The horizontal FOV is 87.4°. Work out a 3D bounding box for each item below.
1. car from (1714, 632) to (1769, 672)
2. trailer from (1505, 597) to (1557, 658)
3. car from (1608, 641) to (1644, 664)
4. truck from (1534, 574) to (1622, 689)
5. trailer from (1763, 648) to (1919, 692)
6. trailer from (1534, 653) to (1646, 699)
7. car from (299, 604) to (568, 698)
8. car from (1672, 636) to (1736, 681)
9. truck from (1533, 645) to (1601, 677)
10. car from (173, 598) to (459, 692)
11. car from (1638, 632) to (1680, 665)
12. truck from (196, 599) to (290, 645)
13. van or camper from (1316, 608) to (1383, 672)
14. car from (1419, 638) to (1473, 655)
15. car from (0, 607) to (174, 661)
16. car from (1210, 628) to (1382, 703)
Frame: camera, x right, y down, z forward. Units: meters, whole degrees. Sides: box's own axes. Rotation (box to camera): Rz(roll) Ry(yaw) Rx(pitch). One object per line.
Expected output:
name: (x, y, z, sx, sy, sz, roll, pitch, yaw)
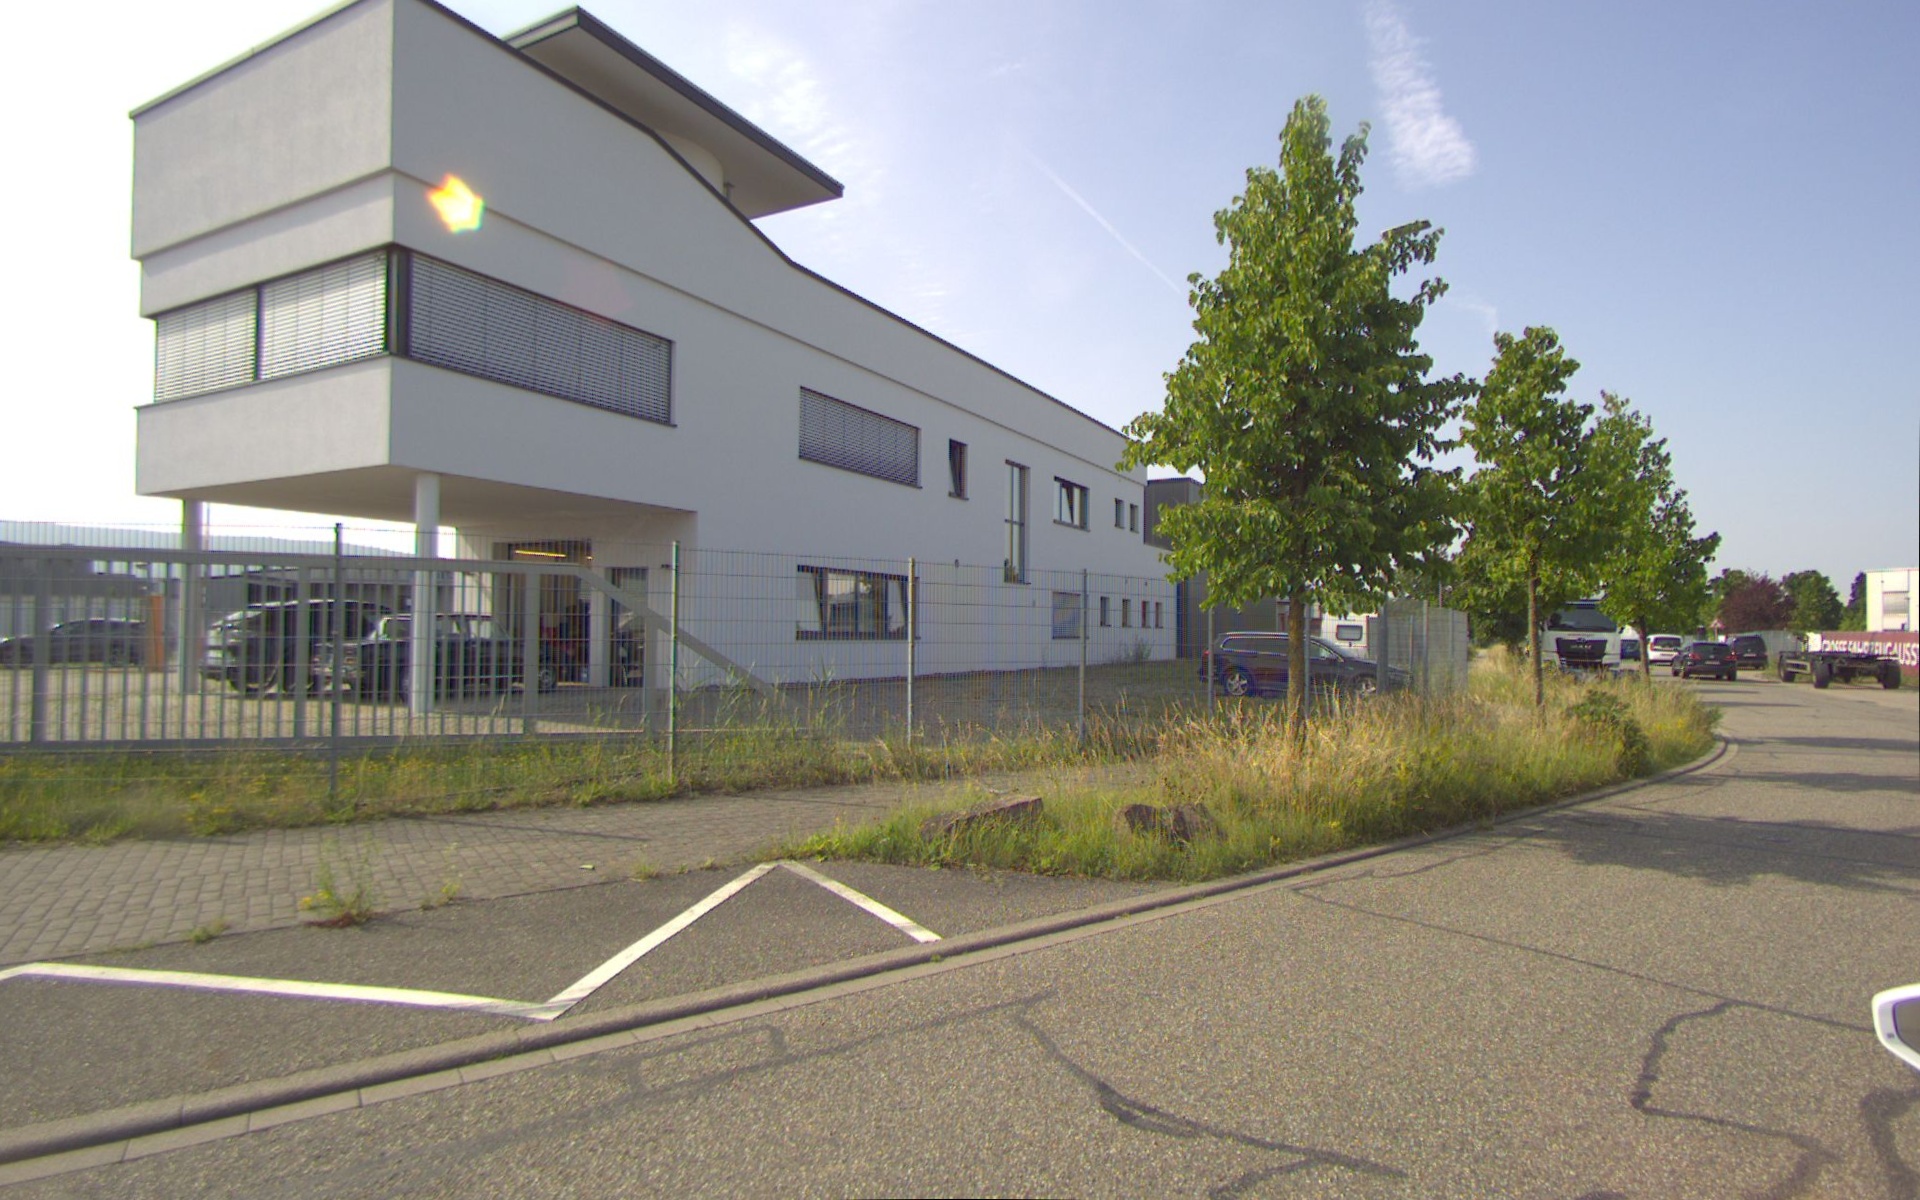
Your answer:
car: (42.750, 2.819, 55.047, 1.793, 2.004, 3.992, -4, -3, 31)
trailer: (45.453, 2.230, 80.067, 3.353, 4.397, 13.896, 0, -2, 29)
car: (50.814, 3.958, 76.666, 1.964, 1.661, 3.994, 0, -2, 29)
truck: (25.112, 1.300, 41.184, 2.588, 3.981, 12.894, 1, -1, 30)
trailer: (34.416, 2.683, 39.648, 2.584, 1.406, 9.440, -2, -3, 29)
trailer: (19.026, 2.235, 30.581, 2.535, 1.114, 5.194, 0, -2, 28)
car: (-8.966, 0.834, 17.446, 1.535, 1.434, 3.915, 0, -2, 30)
car: (32.840, 2.543, 44.412, 1.966, 1.828, 3.990, 0, -1, 32)
truck: (29.140, 2.881, 48.403, 2.486, 1.282, 6.517, 0, -2, 28)
car: (-11.567, 0.788, 18.326, 1.836, 1.507, 3.993, 0, -2, 30)
car: (43.068, 2.950, 61.961, 1.966, 1.925, 4.455, 0, -1, 33)
truck: (-41.798, 1.297, 58.630, 3.928, 2.547, 1.997, 1, -1, -10)
van or camper: (16.926, 1.711, 43.505, 2.269, 2.594, 4.949, 0, -2, 26)
car: (41.685, 3.948, 86.233, 3.935, 1.358, 1.611, 0, -1, 37)
car: (-29.819, 1.153, 34.141, 4.386, 1.750, 1.981, 1, -1, -19)
car: (7.539, 1.424, 22.543, 3.439, 1.473, 1.595, 1, -1, 27)
